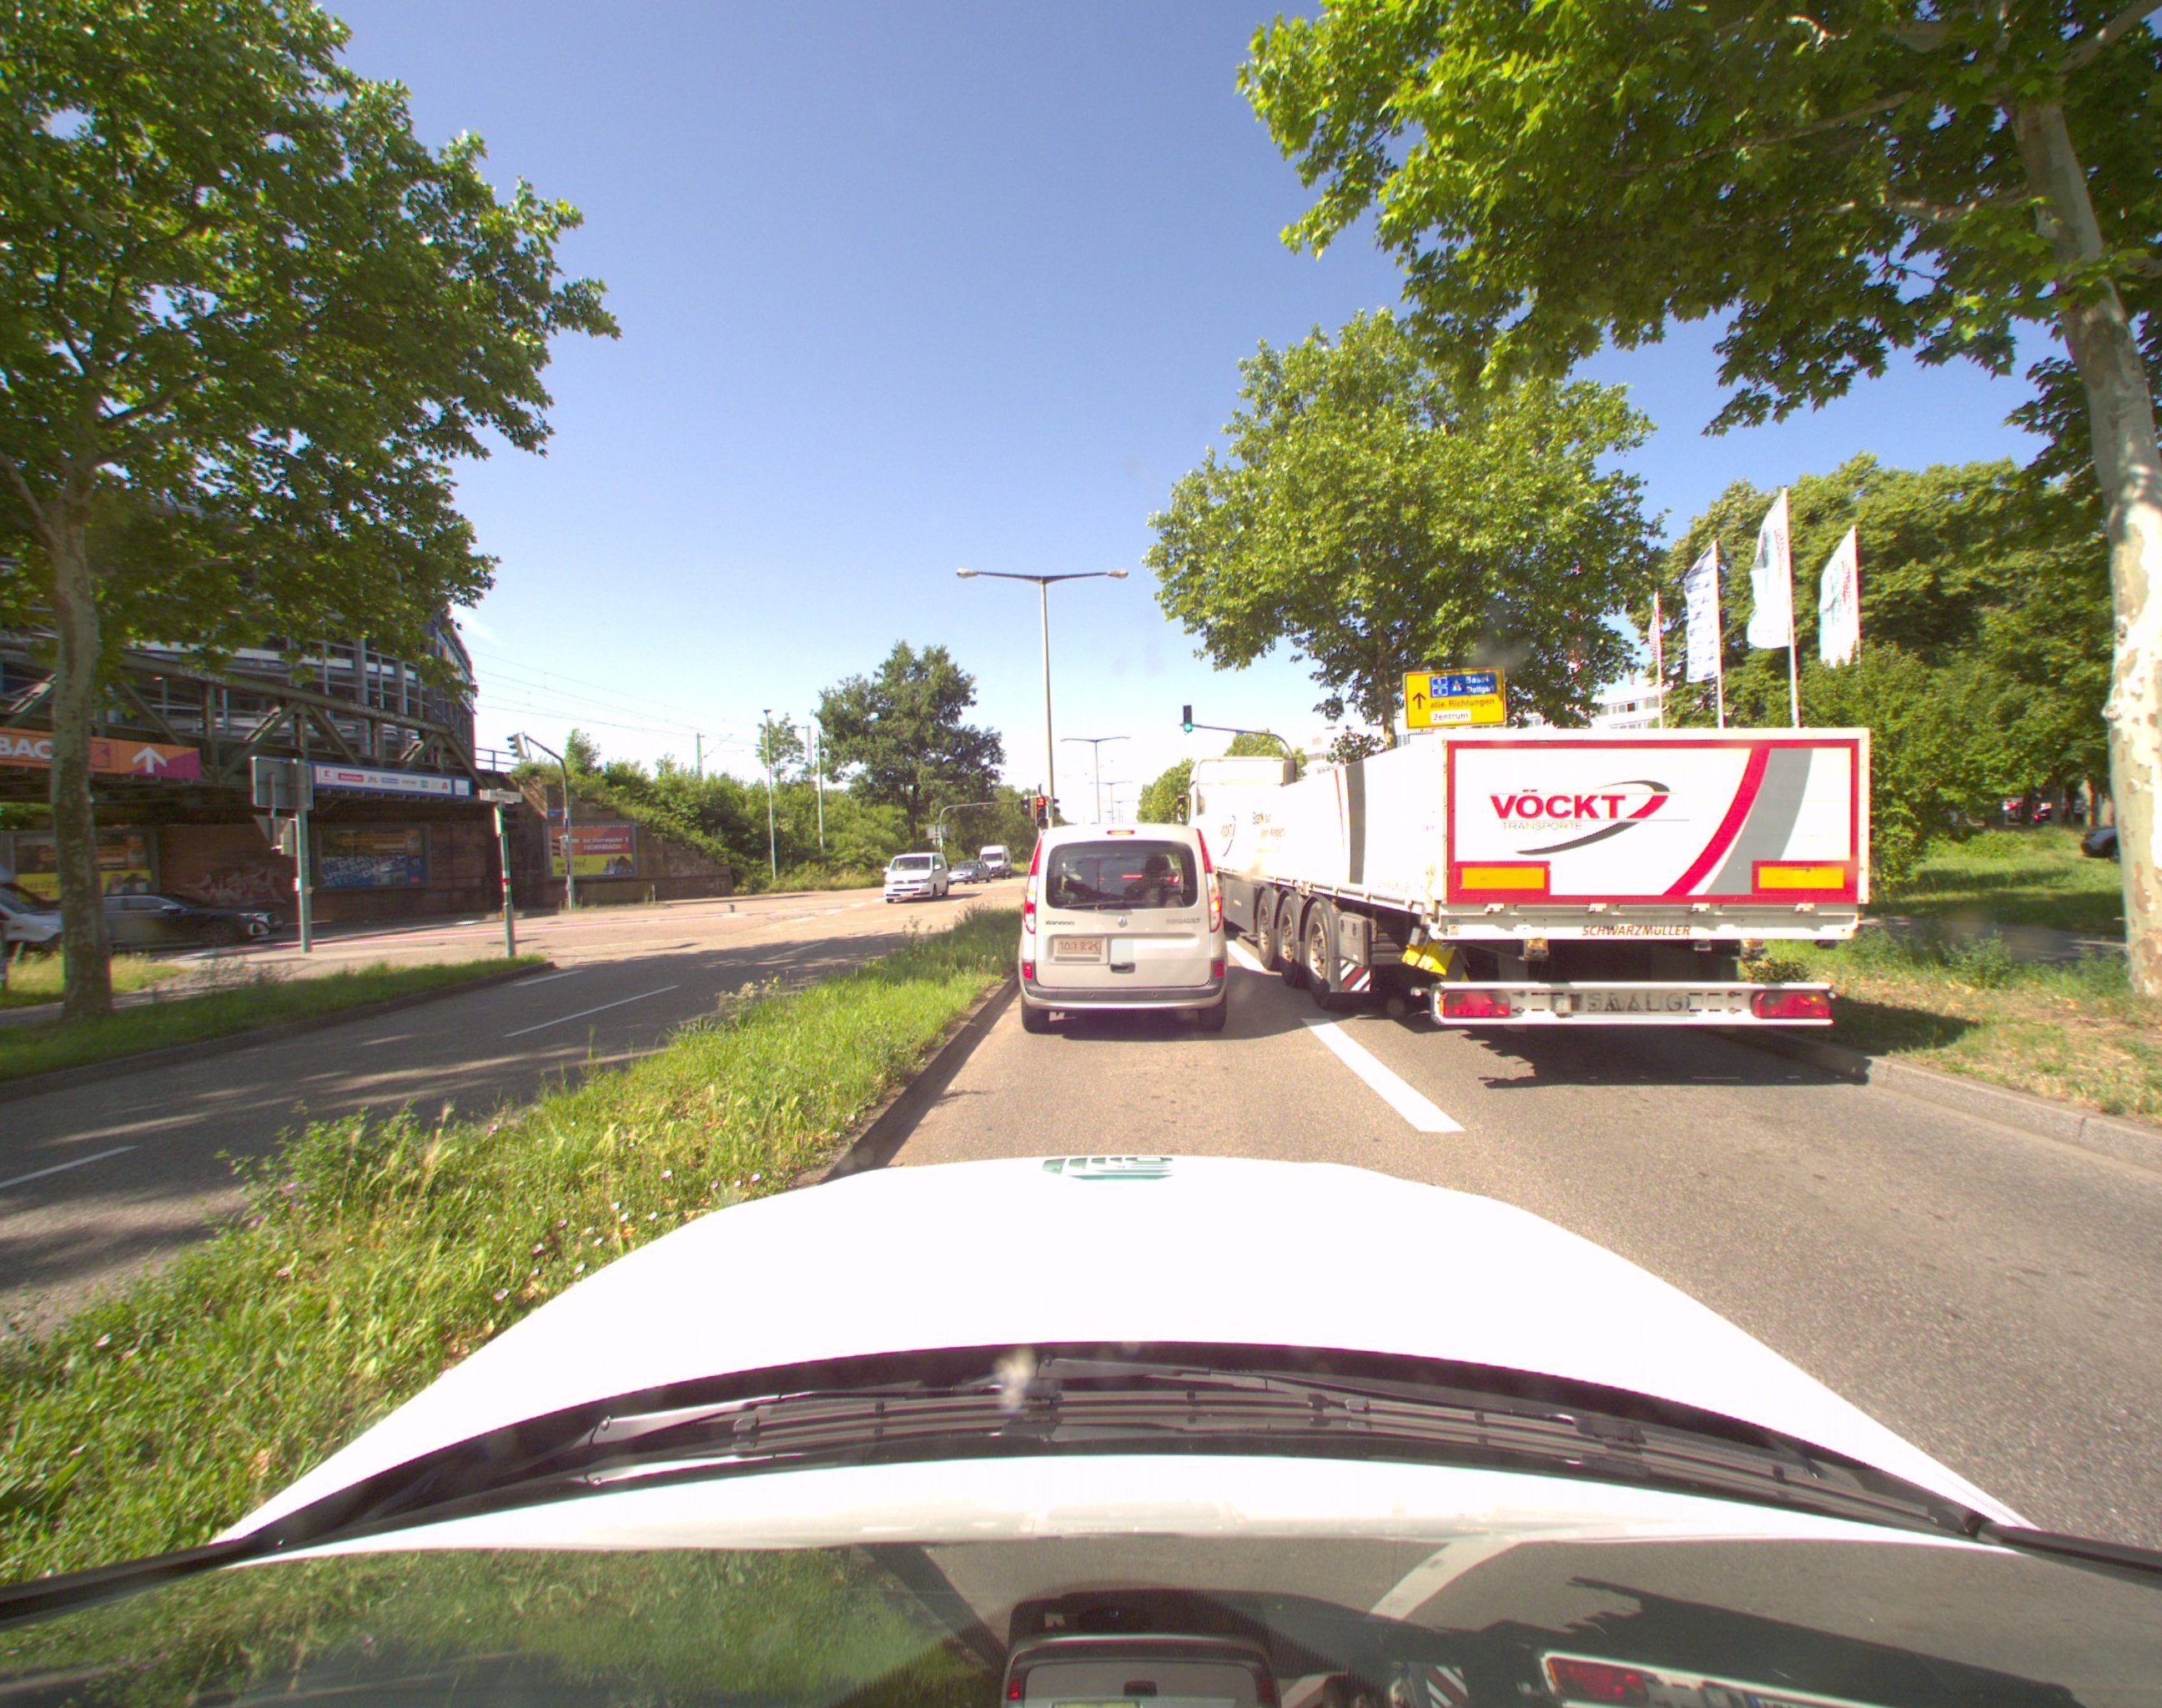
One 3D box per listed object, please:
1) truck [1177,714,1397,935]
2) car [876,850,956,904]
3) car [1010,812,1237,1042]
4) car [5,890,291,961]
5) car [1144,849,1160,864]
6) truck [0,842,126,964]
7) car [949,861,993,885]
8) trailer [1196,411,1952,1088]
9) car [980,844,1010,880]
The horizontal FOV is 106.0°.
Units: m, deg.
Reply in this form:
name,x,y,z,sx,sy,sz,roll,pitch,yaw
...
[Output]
name,x,y,z,sx,sy,sz,roll,pitch,yaw
truck,3.979,-0.487,17.777,3.060,3.758,7.479,-1,0,2
car,-6.599,0.873,33.163,1.986,1.891,4.989,-4,0,2
car,0.409,0.585,8.373,1.742,1.772,3.951,-1,0,2
car,-26.036,1.923,23.033,5.074,1.596,1.510,-1,-1,-35
car,10.176,0.390,116.470,1.986,2.014,4.001,-1,0,2
truck,-26.222,1.129,17.921,6.431,2.712,1.979,-1,-1,-34
car,-6.958,1.204,51.877,1.903,1.409,4.231,-1,0,4
trailer,3.599,-0.545,10.696,3.004,3.740,12.248,-1,0,3
car,-6.627,0.627,63.238,2.054,2.614,5.862,-1,0,-3
